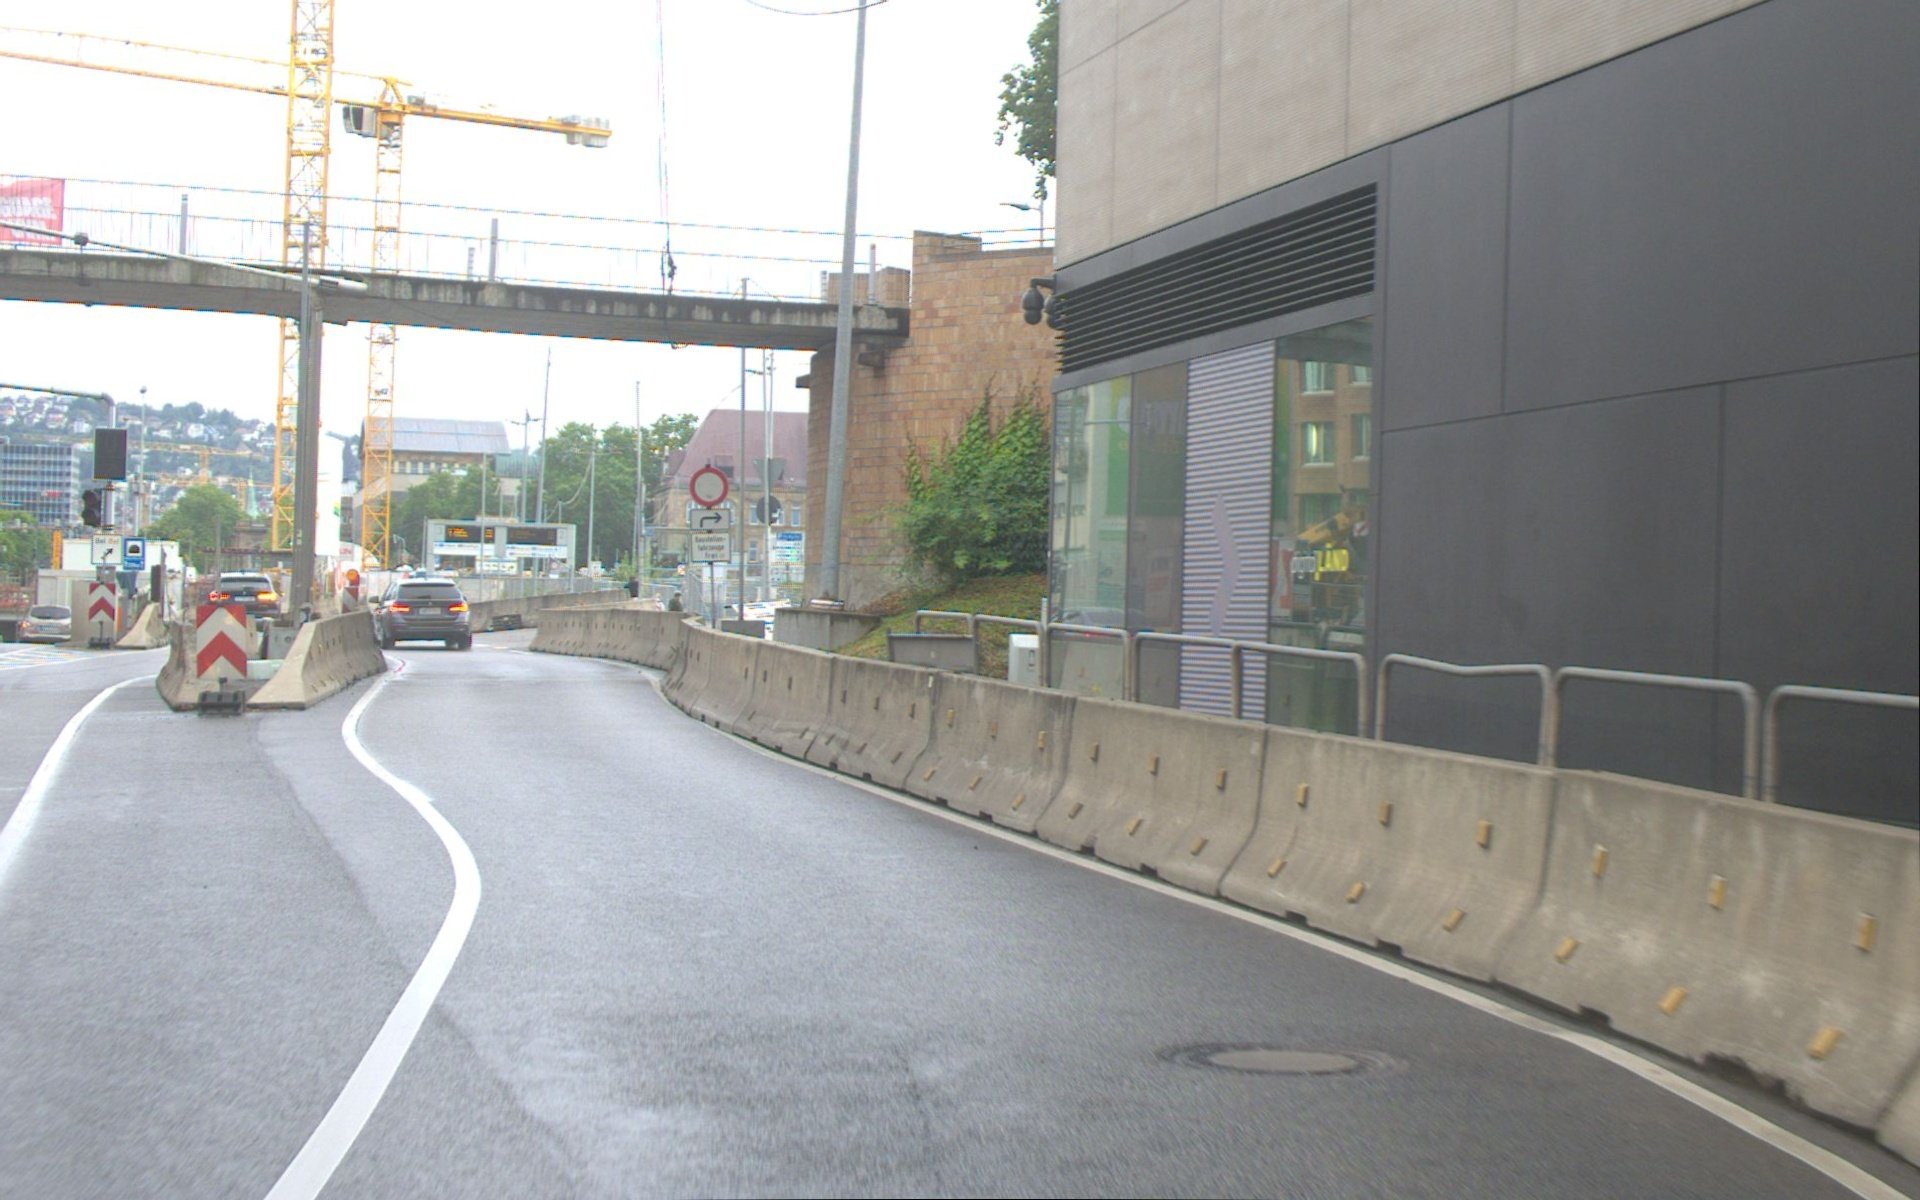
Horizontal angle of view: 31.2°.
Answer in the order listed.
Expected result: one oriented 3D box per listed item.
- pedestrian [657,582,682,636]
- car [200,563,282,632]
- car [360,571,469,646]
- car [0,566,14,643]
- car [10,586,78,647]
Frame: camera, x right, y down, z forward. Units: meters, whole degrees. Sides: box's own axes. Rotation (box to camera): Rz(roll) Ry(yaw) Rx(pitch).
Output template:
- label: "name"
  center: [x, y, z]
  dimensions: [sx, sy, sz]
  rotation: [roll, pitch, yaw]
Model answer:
- label: "pedestrian"
  center: [-9.632, 0.289, 114.006]
  dimensions: [0.689, 1.772, 1.023]
  rotation: [1, -1, -11]
- label: "car"
  center: [-18.466, -0.088, 88.425]
  dimensions: [1.862, 1.655, 4.657]
  rotation: [2, 0, -10]
- label: "car"
  center: [-11.274, 0.153, 70.847]
  dimensions: [1.862, 1.428, 4.657]
  rotation: [2, 0, -13]
- label: "car"
  center: [-18.729, 0.058, 63.615]
  dimensions: [1.862, 1.438, 4.657]
  rotation: [2, 0, -10]
- label: "car"
  center: [-28.502, 0.510, 107.050]
  dimensions: [1.862, 1.759, 4.658]
  rotation: [2, 0, -13]
